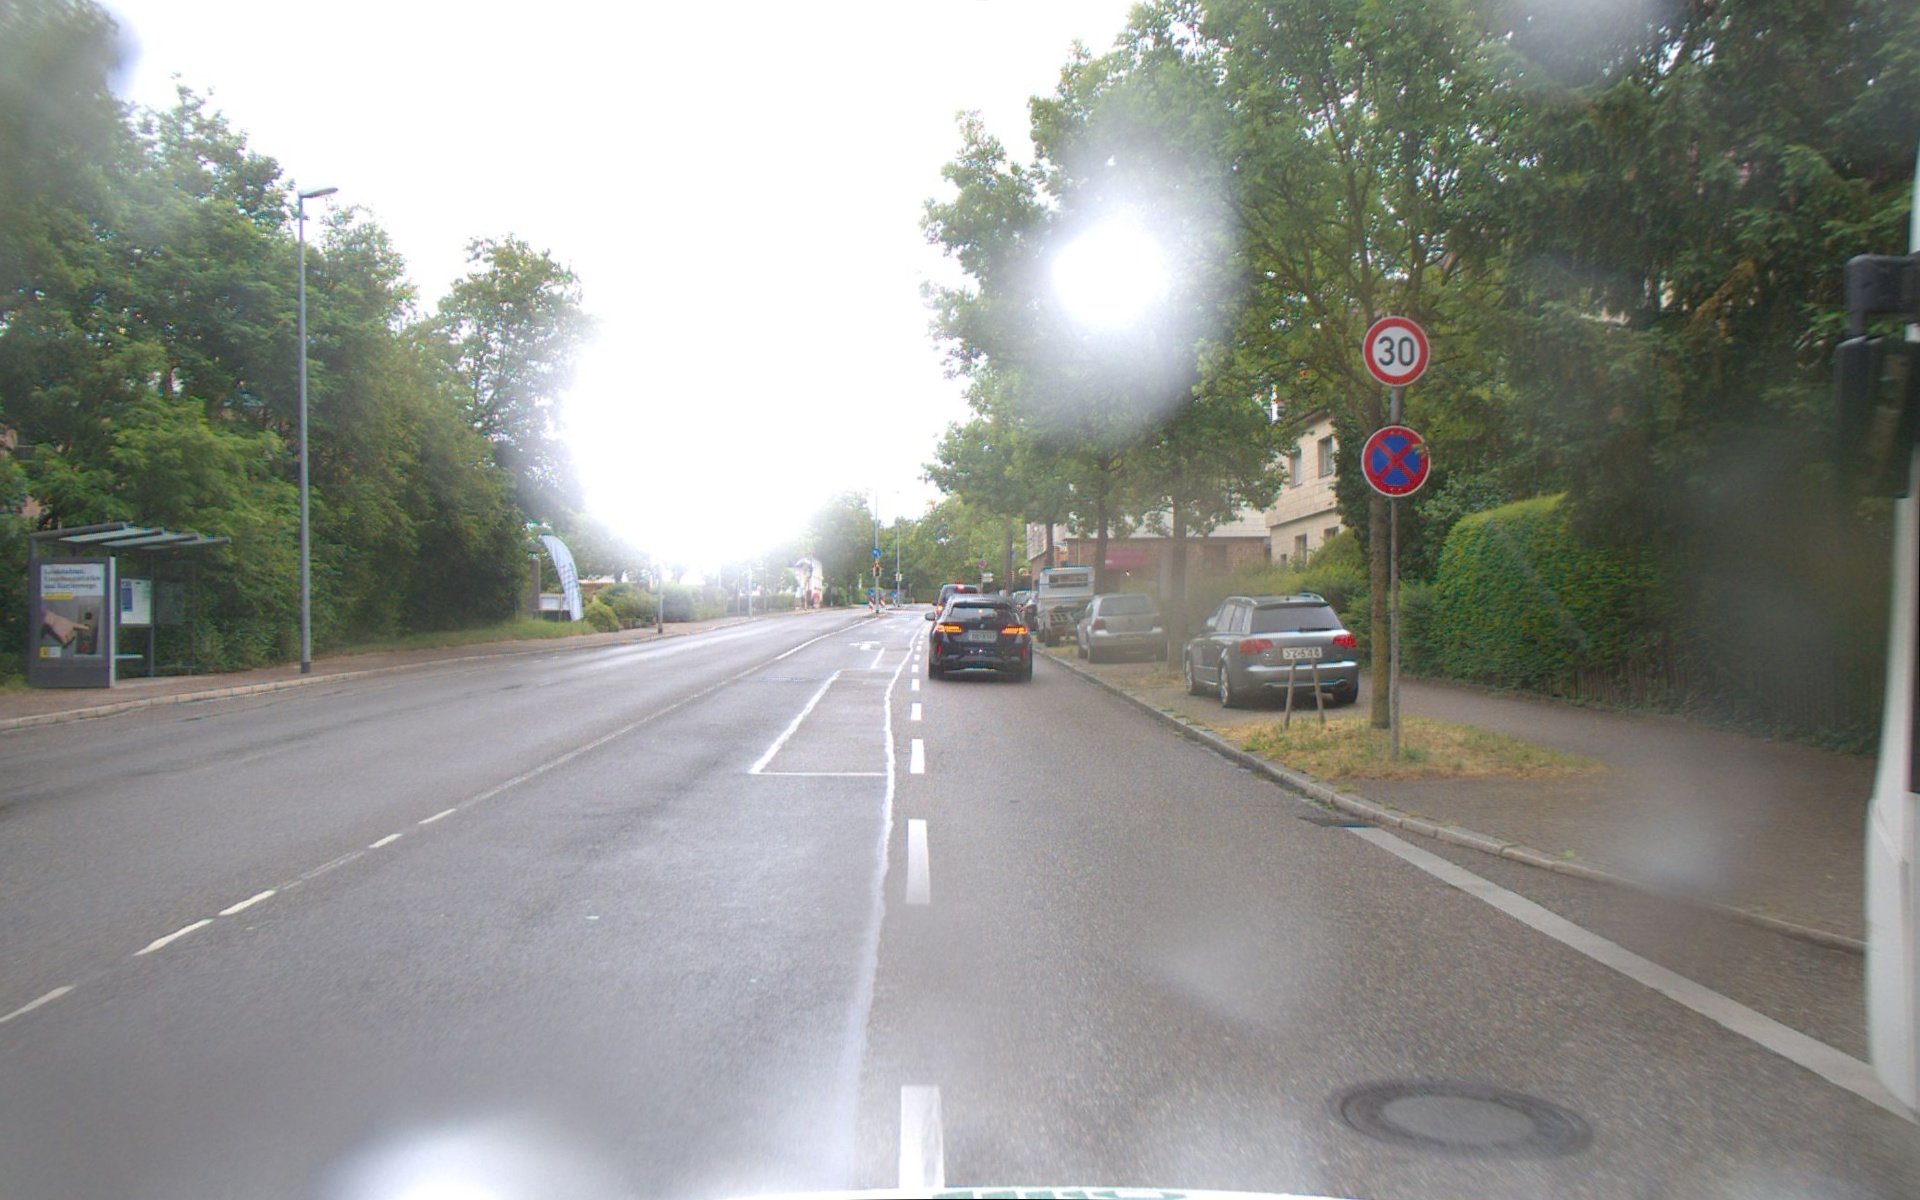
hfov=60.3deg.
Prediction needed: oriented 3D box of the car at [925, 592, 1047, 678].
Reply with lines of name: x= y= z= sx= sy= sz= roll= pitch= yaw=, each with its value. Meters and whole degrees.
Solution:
car: x=0.403 y=0.599 z=30.967 sx=2.023 sy=1.472 sz=4.481 roll=1 pitch=0 yaw=-2

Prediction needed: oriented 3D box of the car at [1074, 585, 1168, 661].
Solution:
car: x=3.489 y=0.465 z=36.427 sx=1.569 sy=1.461 sz=4.021 roll=-3 pitch=1 yaw=0

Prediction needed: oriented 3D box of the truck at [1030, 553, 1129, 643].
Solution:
truck: x=3.308 y=-0.065 z=47.062 sx=2.038 sy=2.260 sz=6.499 roll=-3 pitch=0 yaw=-2

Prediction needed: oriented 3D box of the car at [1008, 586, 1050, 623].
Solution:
car: x=3.066 y=0.175 z=74.182 sx=1.552 sy=1.516 sz=3.626 roll=-3 pitch=1 yaw=-2

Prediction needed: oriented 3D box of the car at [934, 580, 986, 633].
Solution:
car: x=-0.027 y=0.223 z=59.870 sx=1.748 sy=1.849 sz=3.999 roll=0 pitch=0 yaw=-2

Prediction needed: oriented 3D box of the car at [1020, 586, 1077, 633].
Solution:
car: x=3.101 y=0.305 z=58.593 sx=1.679 sy=1.525 sz=4.183 roll=-3 pitch=0 yaw=0

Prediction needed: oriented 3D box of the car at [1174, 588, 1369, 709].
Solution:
car: x=4.173 y=0.582 z=22.834 sx=1.654 sy=1.413 sz=4.498 roll=-3 pitch=1 yaw=-2
